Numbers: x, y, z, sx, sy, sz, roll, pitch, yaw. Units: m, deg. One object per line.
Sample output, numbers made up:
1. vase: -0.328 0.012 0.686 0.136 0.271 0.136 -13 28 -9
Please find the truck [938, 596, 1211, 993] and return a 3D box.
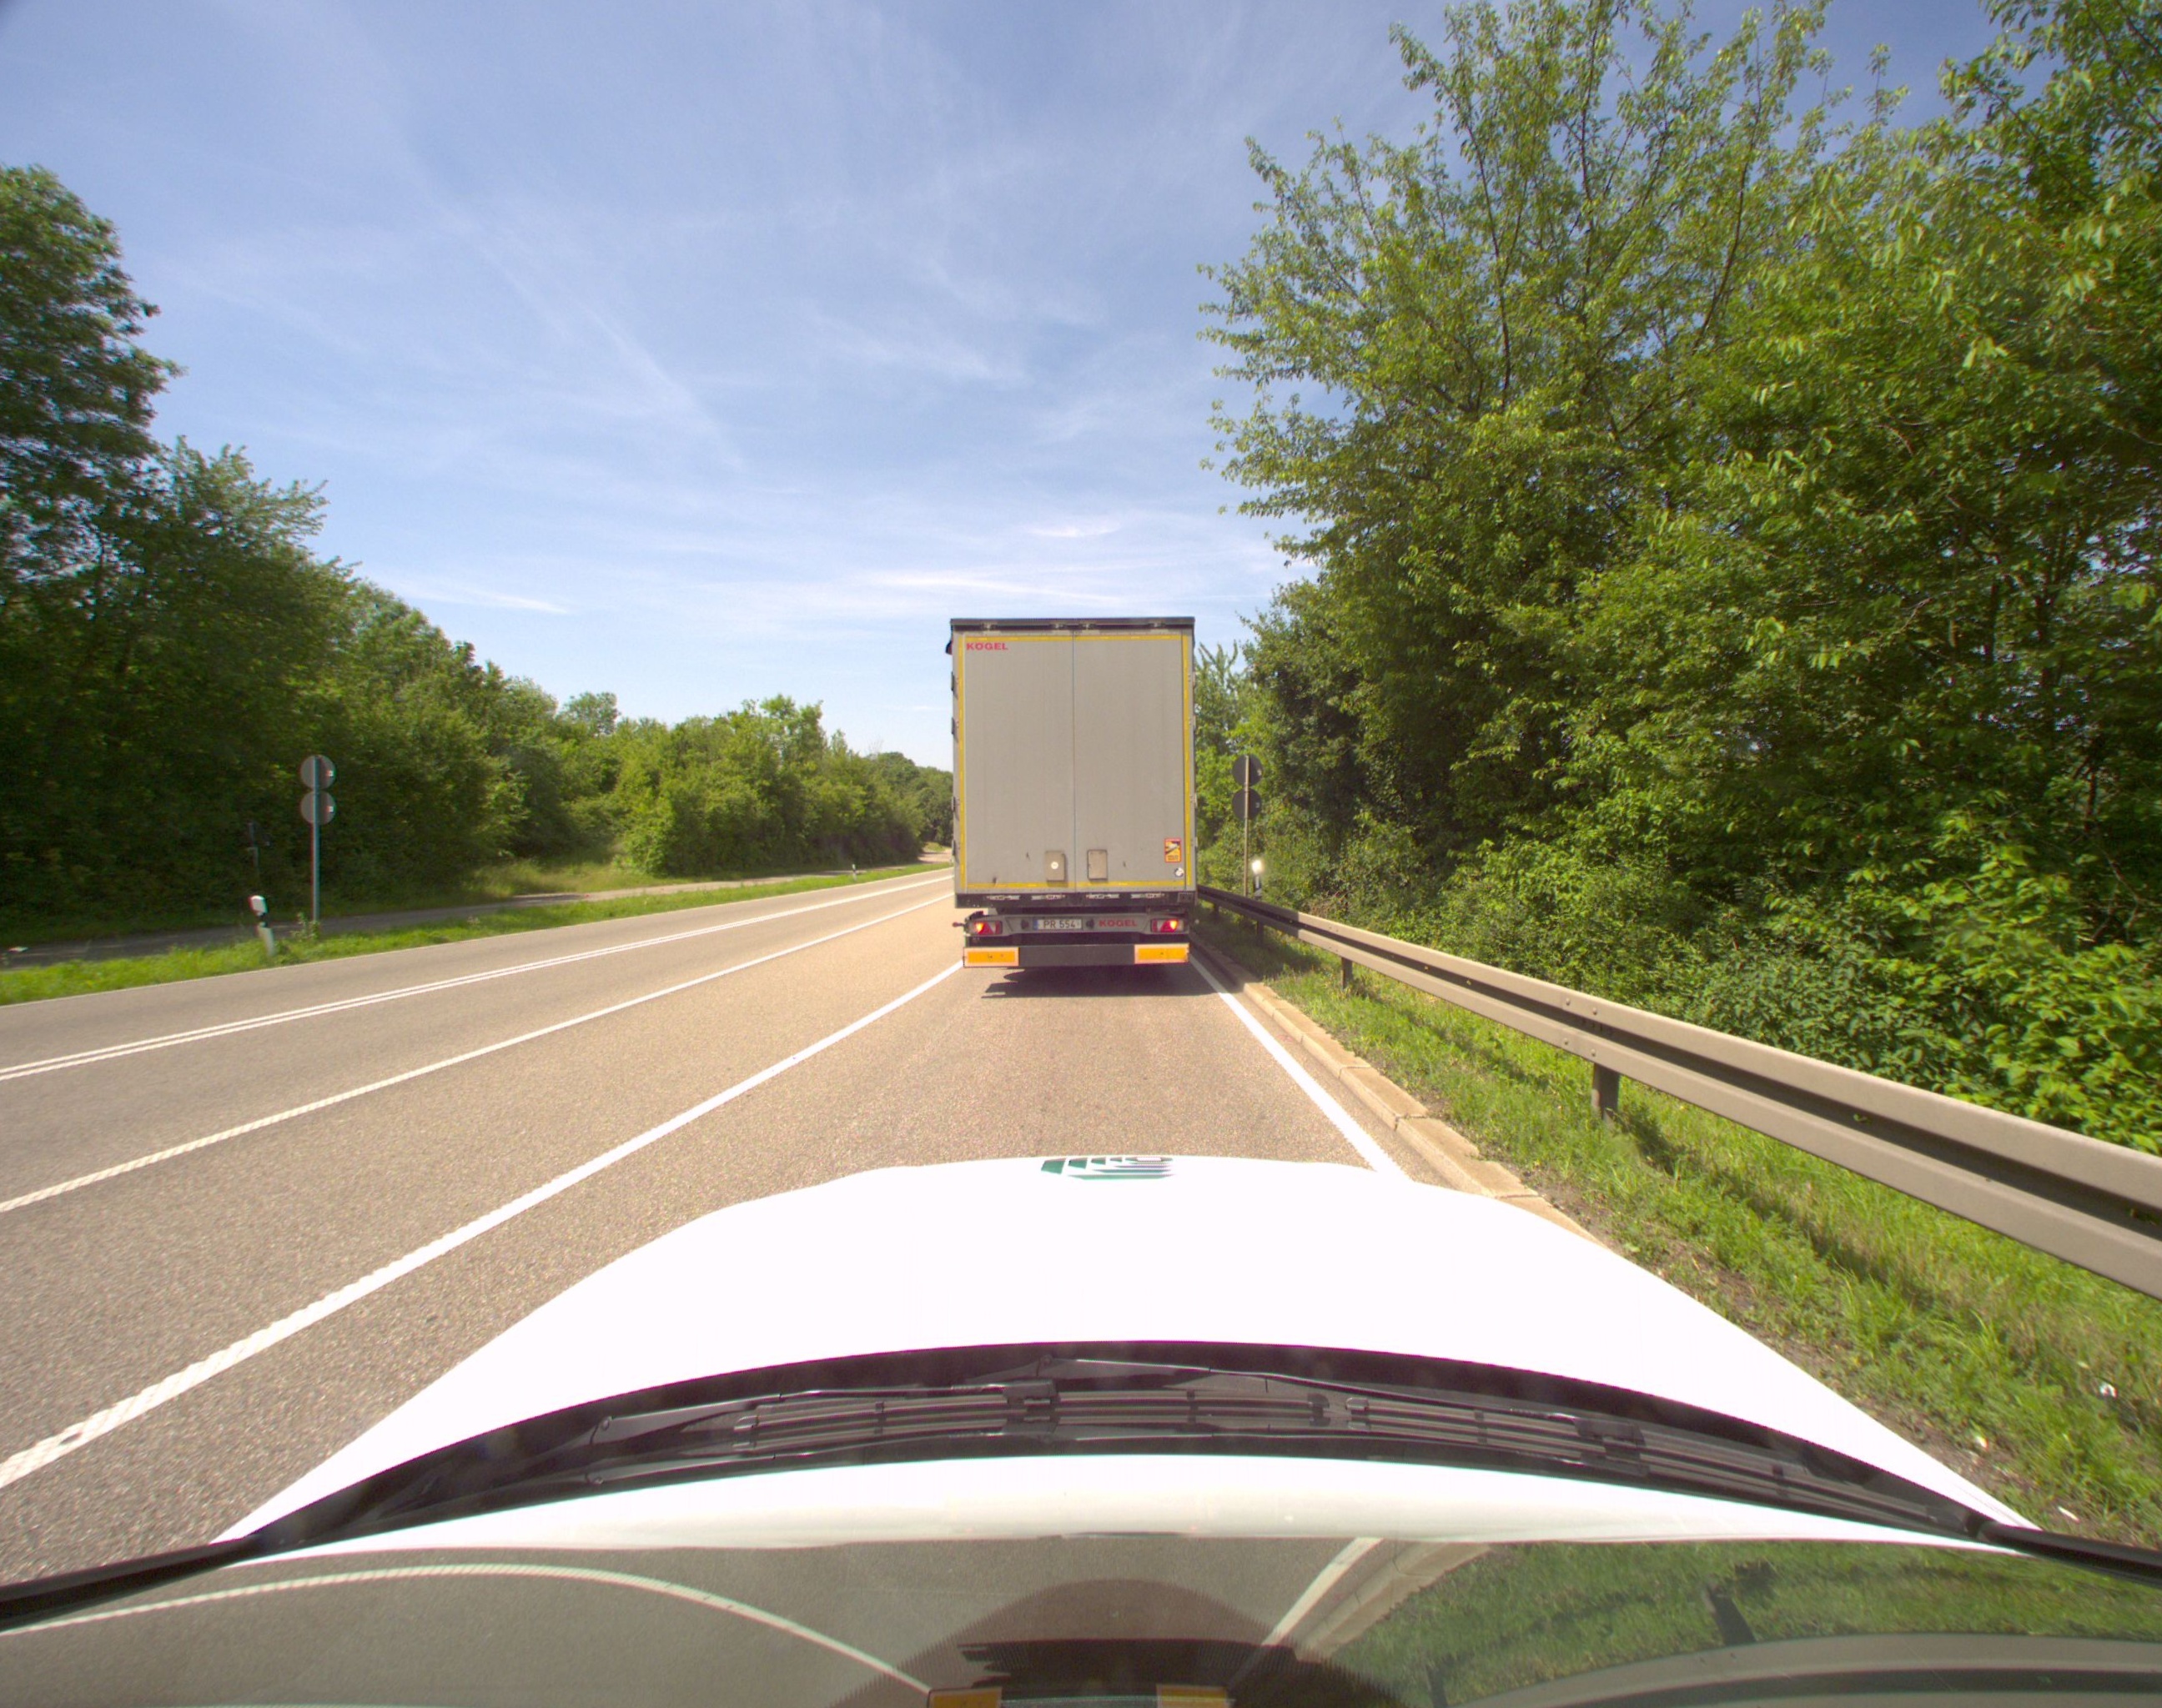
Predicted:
1. truck: 0.047 -0.623 14.303 2.747 4.029 11.926 -1 0 1
